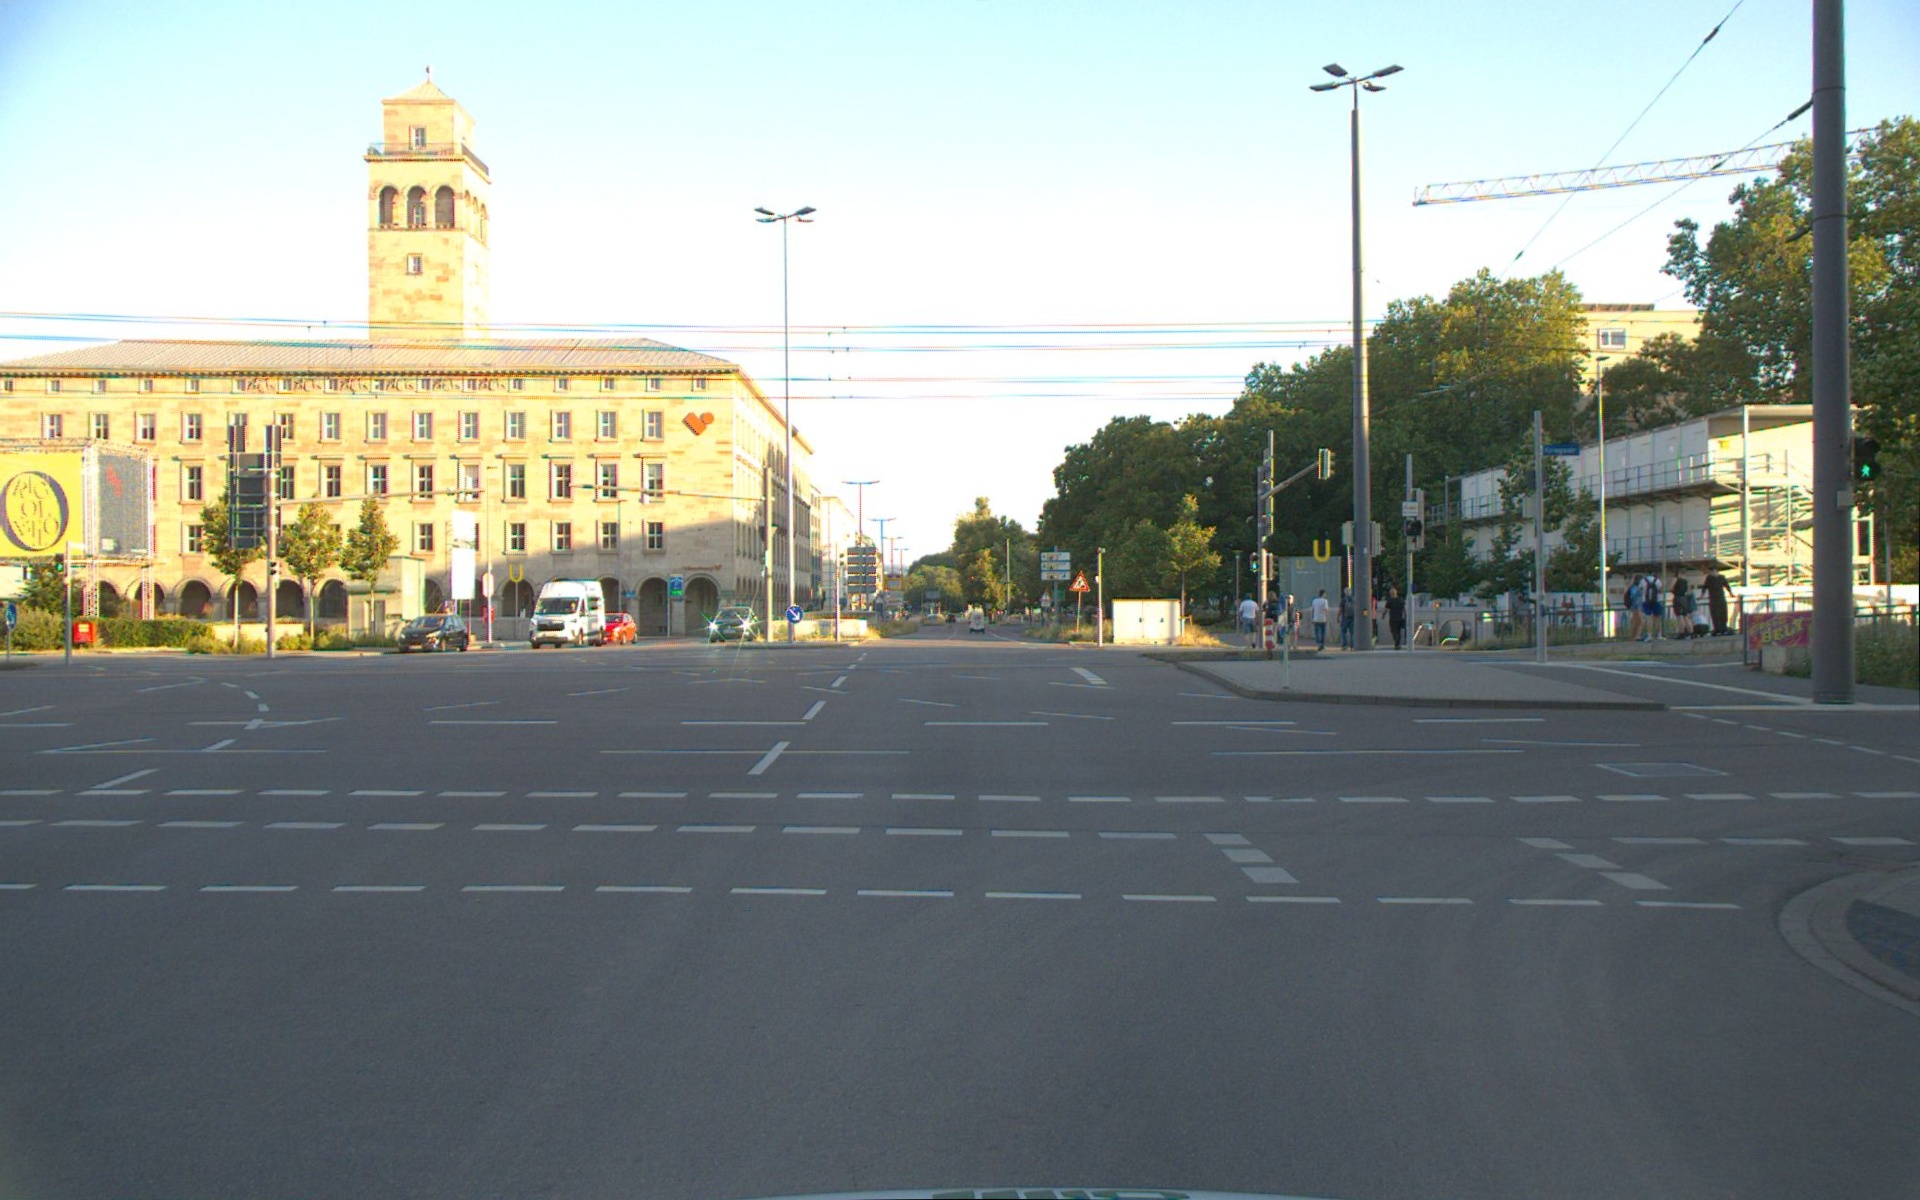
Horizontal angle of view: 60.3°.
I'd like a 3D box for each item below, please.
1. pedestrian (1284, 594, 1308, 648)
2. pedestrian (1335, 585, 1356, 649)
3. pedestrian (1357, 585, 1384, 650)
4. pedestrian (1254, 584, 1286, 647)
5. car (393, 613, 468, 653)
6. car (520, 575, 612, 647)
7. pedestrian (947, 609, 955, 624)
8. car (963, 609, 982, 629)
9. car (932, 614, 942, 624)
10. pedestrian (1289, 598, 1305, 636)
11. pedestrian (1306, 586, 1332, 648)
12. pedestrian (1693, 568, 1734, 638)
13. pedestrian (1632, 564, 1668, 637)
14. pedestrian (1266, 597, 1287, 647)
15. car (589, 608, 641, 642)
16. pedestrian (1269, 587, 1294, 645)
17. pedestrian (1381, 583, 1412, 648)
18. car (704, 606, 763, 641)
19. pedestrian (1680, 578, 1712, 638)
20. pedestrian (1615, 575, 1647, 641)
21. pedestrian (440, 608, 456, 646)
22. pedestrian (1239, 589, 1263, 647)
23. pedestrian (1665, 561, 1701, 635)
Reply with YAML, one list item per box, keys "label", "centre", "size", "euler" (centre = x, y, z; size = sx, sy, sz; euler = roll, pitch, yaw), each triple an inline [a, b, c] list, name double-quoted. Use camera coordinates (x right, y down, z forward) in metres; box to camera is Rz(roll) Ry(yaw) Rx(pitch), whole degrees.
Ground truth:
- label: "pedestrian"
  centre: [11.291, 0.704, 55.612]
  size: [0.665, 1.788, 0.902]
  euler: [-1, 0, 20]
- label: "pedestrian"
  centre: [10.951, 0.475, 47.005]
  size: [0.560, 1.823, 0.639]
  euler: [0, 0, 13]
- label: "pedestrian"
  centre: [11.286, 0.488, 45.463]
  size: [0.688, 1.765, 0.848]
  euler: [0, 0, 15]
- label: "pedestrian"
  centre: [8.708, 0.422, 46.533]
  size: [0.696, 1.755, 0.914]
  euler: [0, 0, -2]
- label: "car"
  centre: [-21.140, 1.306, 66.232]
  size: [1.786, 1.492, 4.156]
  euler: [-1, 0, -2]
- label: "car"
  centre: [-16.256, 0.460, 68.547]
  size: [2.232, 2.824, 6.084]
  euler: [-1, 0, 1]
- label: "pedestrian"
  centre: [-1.048, 1.887, 190.828]
  size: [0.888, 1.700, 1.306]
  euler: [0, 0, -2]
- label: "car"
  centre: [1.040, 1.599, 140.815]
  size: [1.453, 1.725, 2.972]
  euler: [-1, 0, -3]
- label: "car"
  centre: [-3.240, 2.655, 231.069]
  size: [1.341, 1.256, 3.045]
  euler: [-1, 0, 1]
- label: "pedestrian"
  centre: [17.036, 0.855, 83.622]
  size: [0.652, 1.875, 0.713]
  euler: [0, 0, 4]
- label: "pedestrian"
  centre: [10.374, 0.491, 47.797]
  size: [0.695, 1.755, 0.916]
  euler: [0, 0, 11]
- label: "pedestrian"
  centre: [19.098, 0.078, 41.927]
  size: [0.696, 1.755, 0.668]
  euler: [0, 0, -3]
- label: "pedestrian"
  centre: [16.791, 0.011, 40.278]
  size: [0.695, 1.755, 0.669]
  euler: [-1, 0, 14]
- label: "pedestrian"
  centre: [10.700, 0.743, 55.832]
  size: [0.548, 1.684, 0.902]
  euler: [-1, 0, 20]
- label: "car"
  centre: [-16.118, 1.143, 77.393]
  size: [1.703, 1.513, 3.999]
  euler: [-1, 0, -1]
- label: "pedestrian"
  centre: [9.904, 0.496, 50.914]
  size: [0.696, 1.755, 0.669]
  euler: [0, 0, 16]
- label: "pedestrian"
  centre: [12.295, 0.441, 46.607]
  size: [0.788, 1.823, 0.801]
  euler: [0, 0, 12]
- label: "car"
  centre: [-9.346, 0.935, 68.485]
  size: [1.785, 1.365, 4.001]
  euler: [-1, 0, 1]
- label: "pedestrian"
  centre: [18.173, 0.206, 40.868]
  size: [0.662, 1.466, 0.714]
  euler: [-1, 0, 21]
- label: "pedestrian"
  centre: [16.804, 0.202, 41.421]
  size: [0.559, 1.620, 0.536]
  euler: [-1, 0, -1]
- label: "pedestrian"
  centre: [-24.139, 1.257, 77.944]
  size: [0.609, 1.774, 0.459]
  euler: [1, -1, -6]
- label: "pedestrian"
  centre: [9.007, 0.552, 51.166]
  size: [0.695, 1.755, 0.669]
  euler: [0, 0, 13]
- label: "pedestrian"
  centre: [17.558, -0.046, 40.190]
  size: [0.696, 1.755, 0.669]
  euler: [-1, 0, 16]
